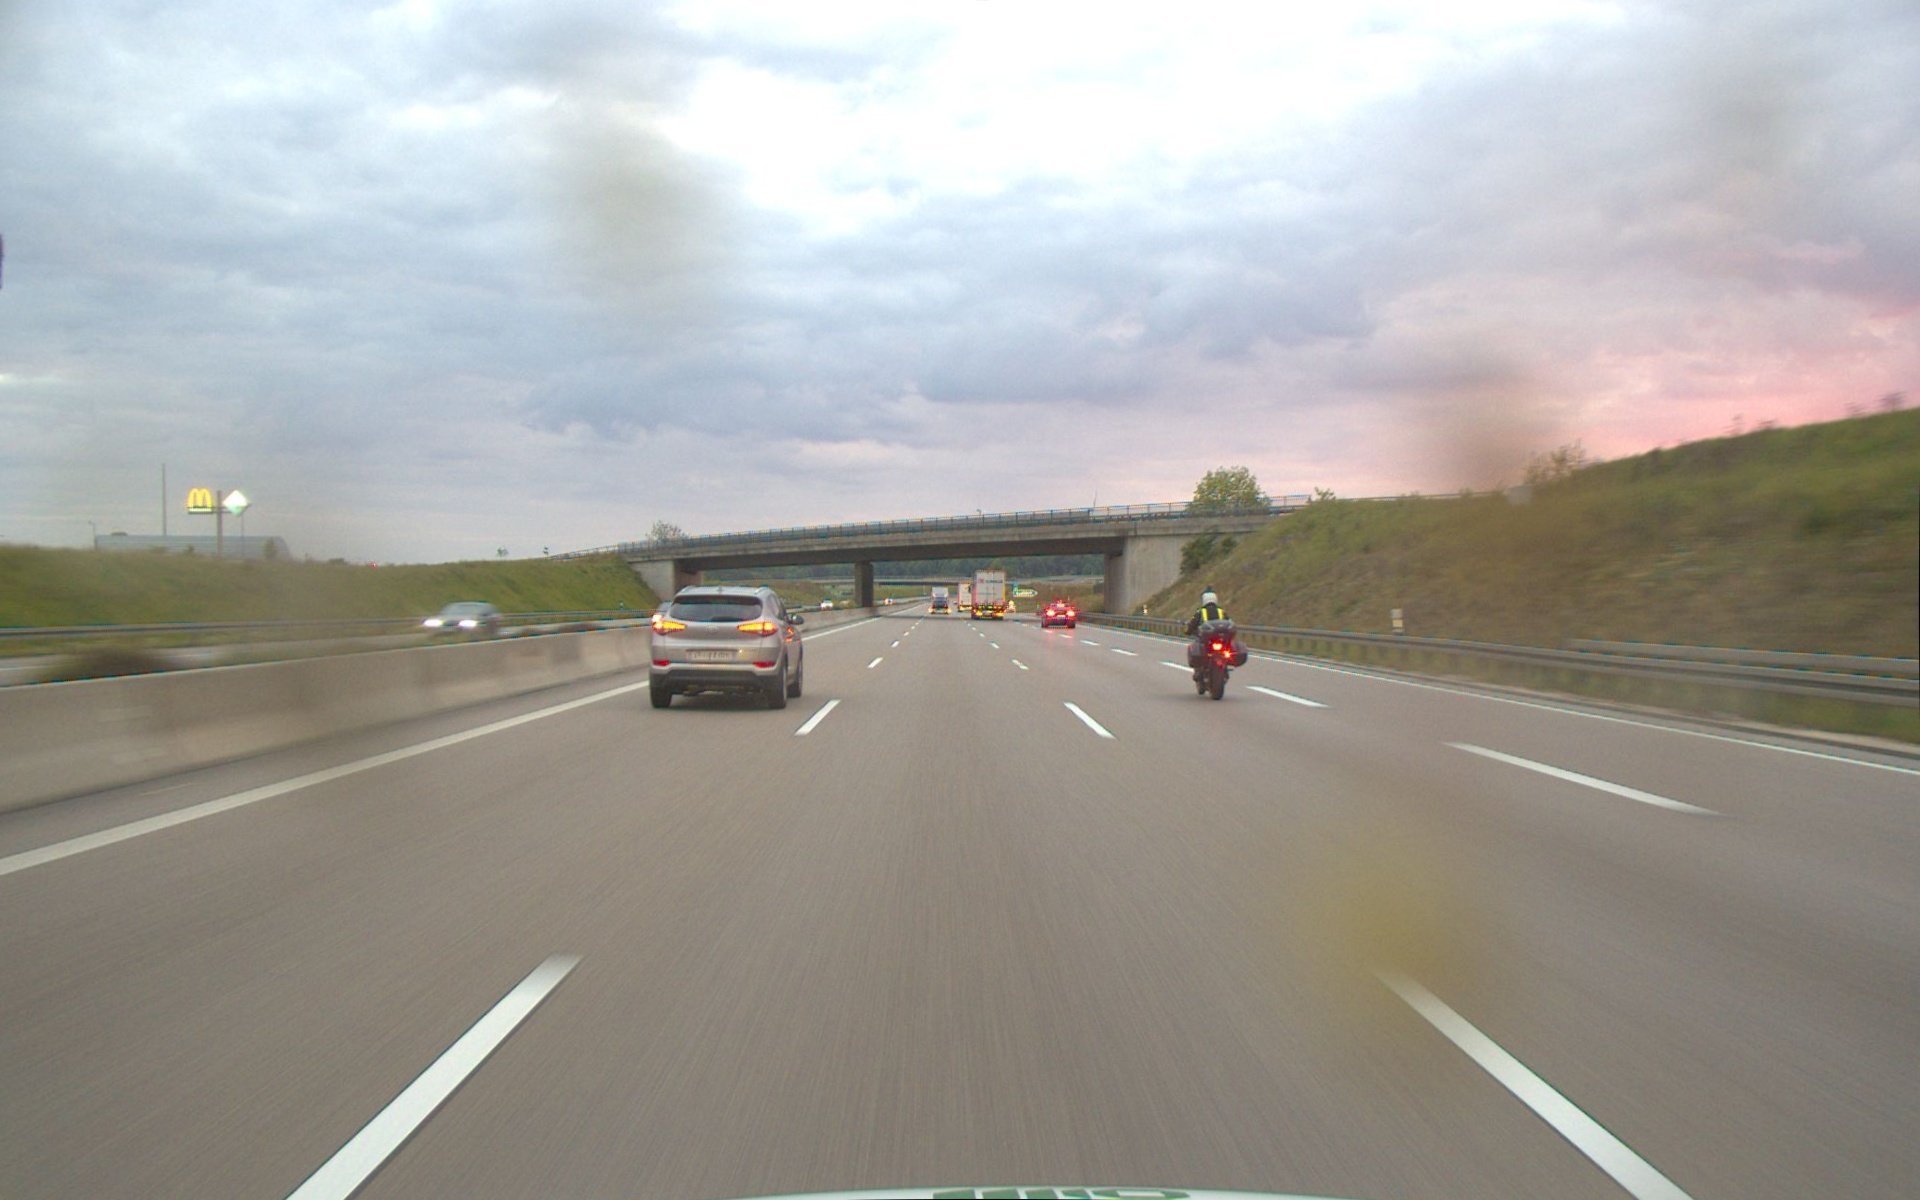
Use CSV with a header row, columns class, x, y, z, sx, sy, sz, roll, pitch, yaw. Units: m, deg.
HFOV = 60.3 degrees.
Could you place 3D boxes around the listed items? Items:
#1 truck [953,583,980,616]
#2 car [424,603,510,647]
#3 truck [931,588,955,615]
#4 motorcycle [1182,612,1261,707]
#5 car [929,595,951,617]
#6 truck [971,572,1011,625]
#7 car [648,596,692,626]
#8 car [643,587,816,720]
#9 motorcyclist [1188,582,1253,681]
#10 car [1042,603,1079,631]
class,x,y,z,sx,sy,sz,roll,pitch,yaw
truck,0.886,-0.117,233.384,3.454,4.421,8.404,1,1,-1
car,-19.277,0.953,64.936,1.953,1.630,5.198,0,0,-2
truck,-2.199,0.124,208.655,2.892,3.273,8.404,1,1,-1
motorcycle,4.125,0.908,26.257,0.883,1.370,2.349,0,1,0
car,-2.356,0.688,192.468,2.465,2.433,6.494,0,0,-1
truck,2.565,-0.208,141.115,3.167,4.301,9.598,1,1,0
car,-16.262,0.622,92.876,1.782,1.657,4.000,0,0,0
car,-3.222,0.679,24.188,1.815,1.722,5.511,0,0,-1
motorcyclist,4.108,0.481,26.136,0.848,1.513,1.168,1,0,1
car,6.034,1.014,99.652,1.879,1.607,3.999,0,0,-1
